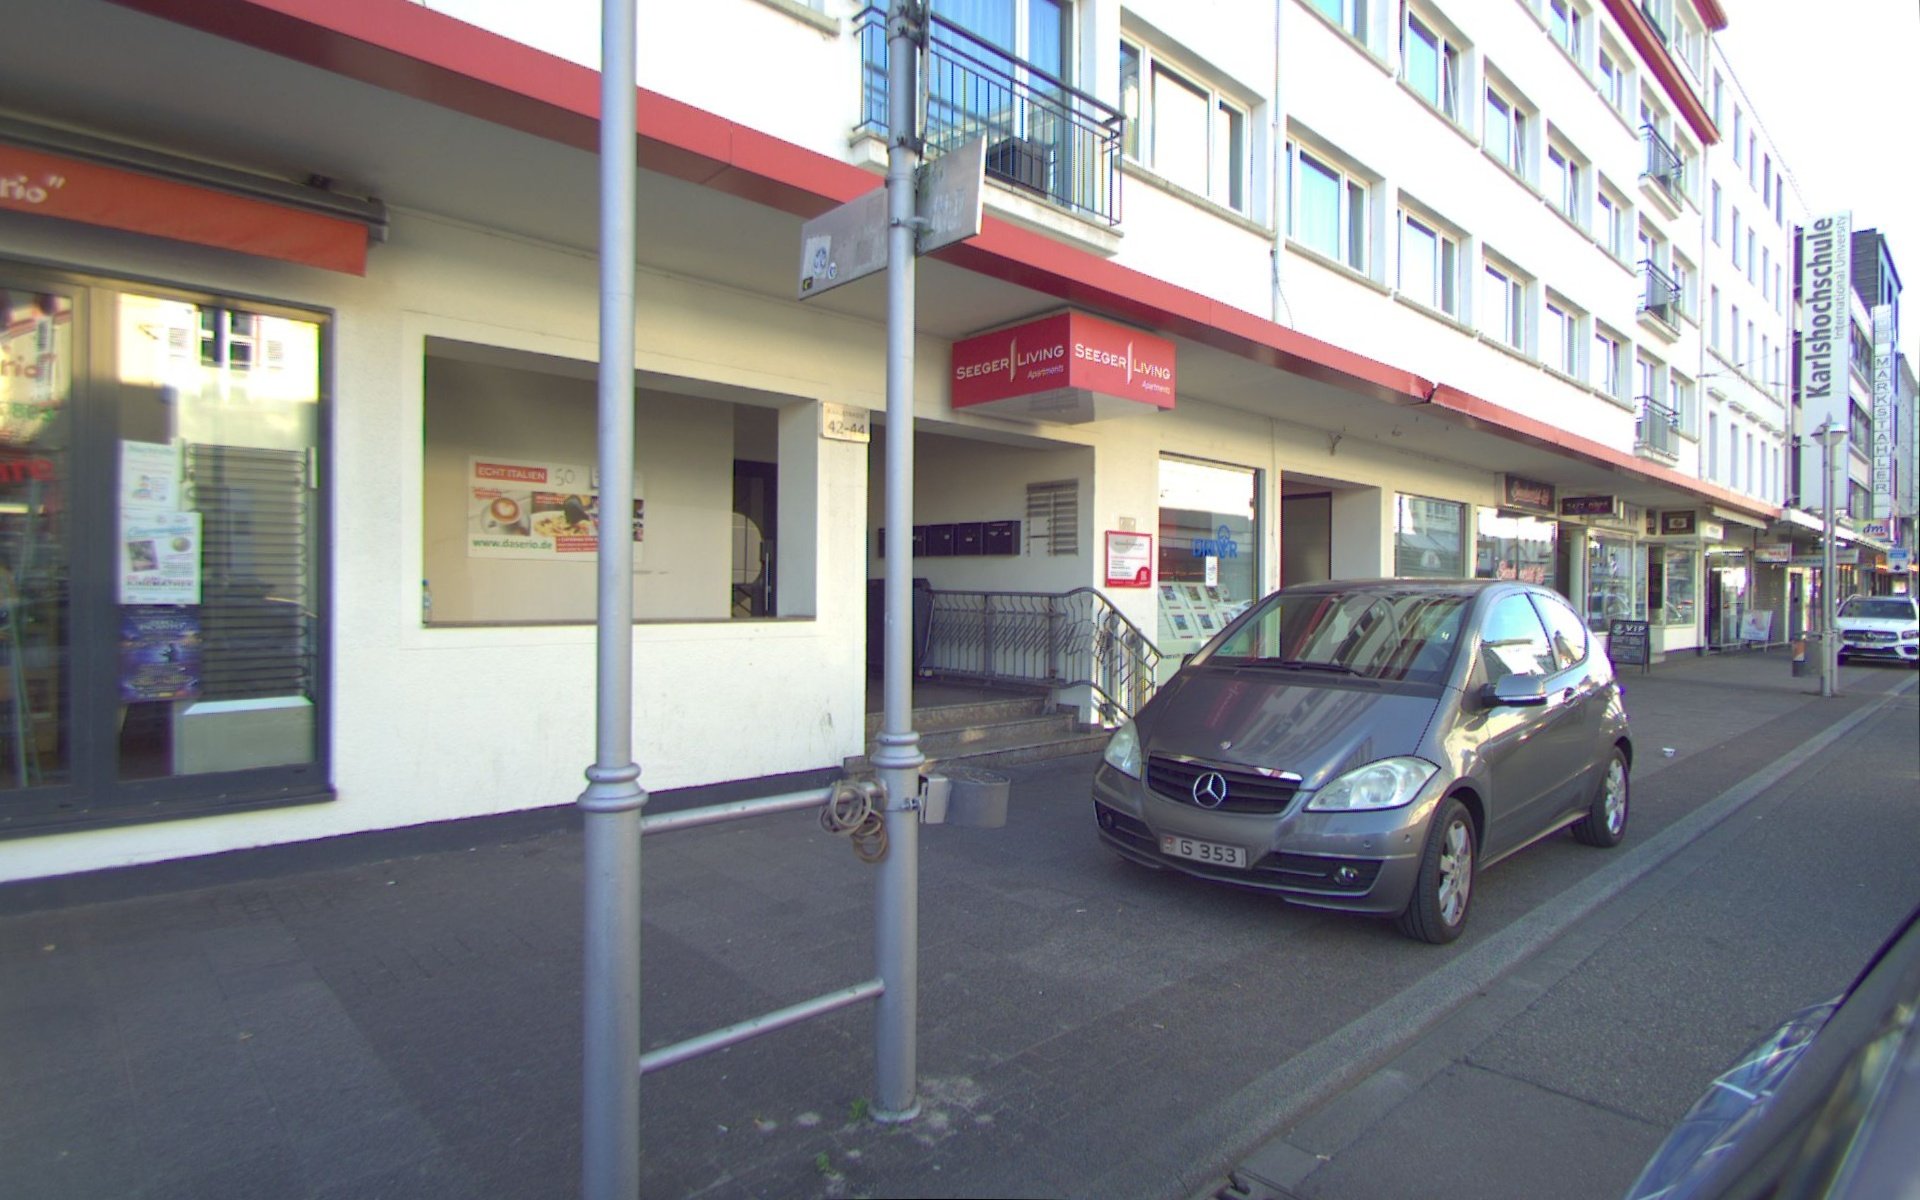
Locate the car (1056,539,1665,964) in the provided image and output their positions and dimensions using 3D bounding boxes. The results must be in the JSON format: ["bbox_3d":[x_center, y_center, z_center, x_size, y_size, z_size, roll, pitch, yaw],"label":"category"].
[{"bbox_3d":[2.473,0.561,5.699,3.932,1.565,1.681,0,0,-43],"label":"car"}]

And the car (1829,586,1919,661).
[{"bbox_3d":[22.391,0.521,24.344,1.994,1.650,3.935,1,1,45],"label":"car"}]
